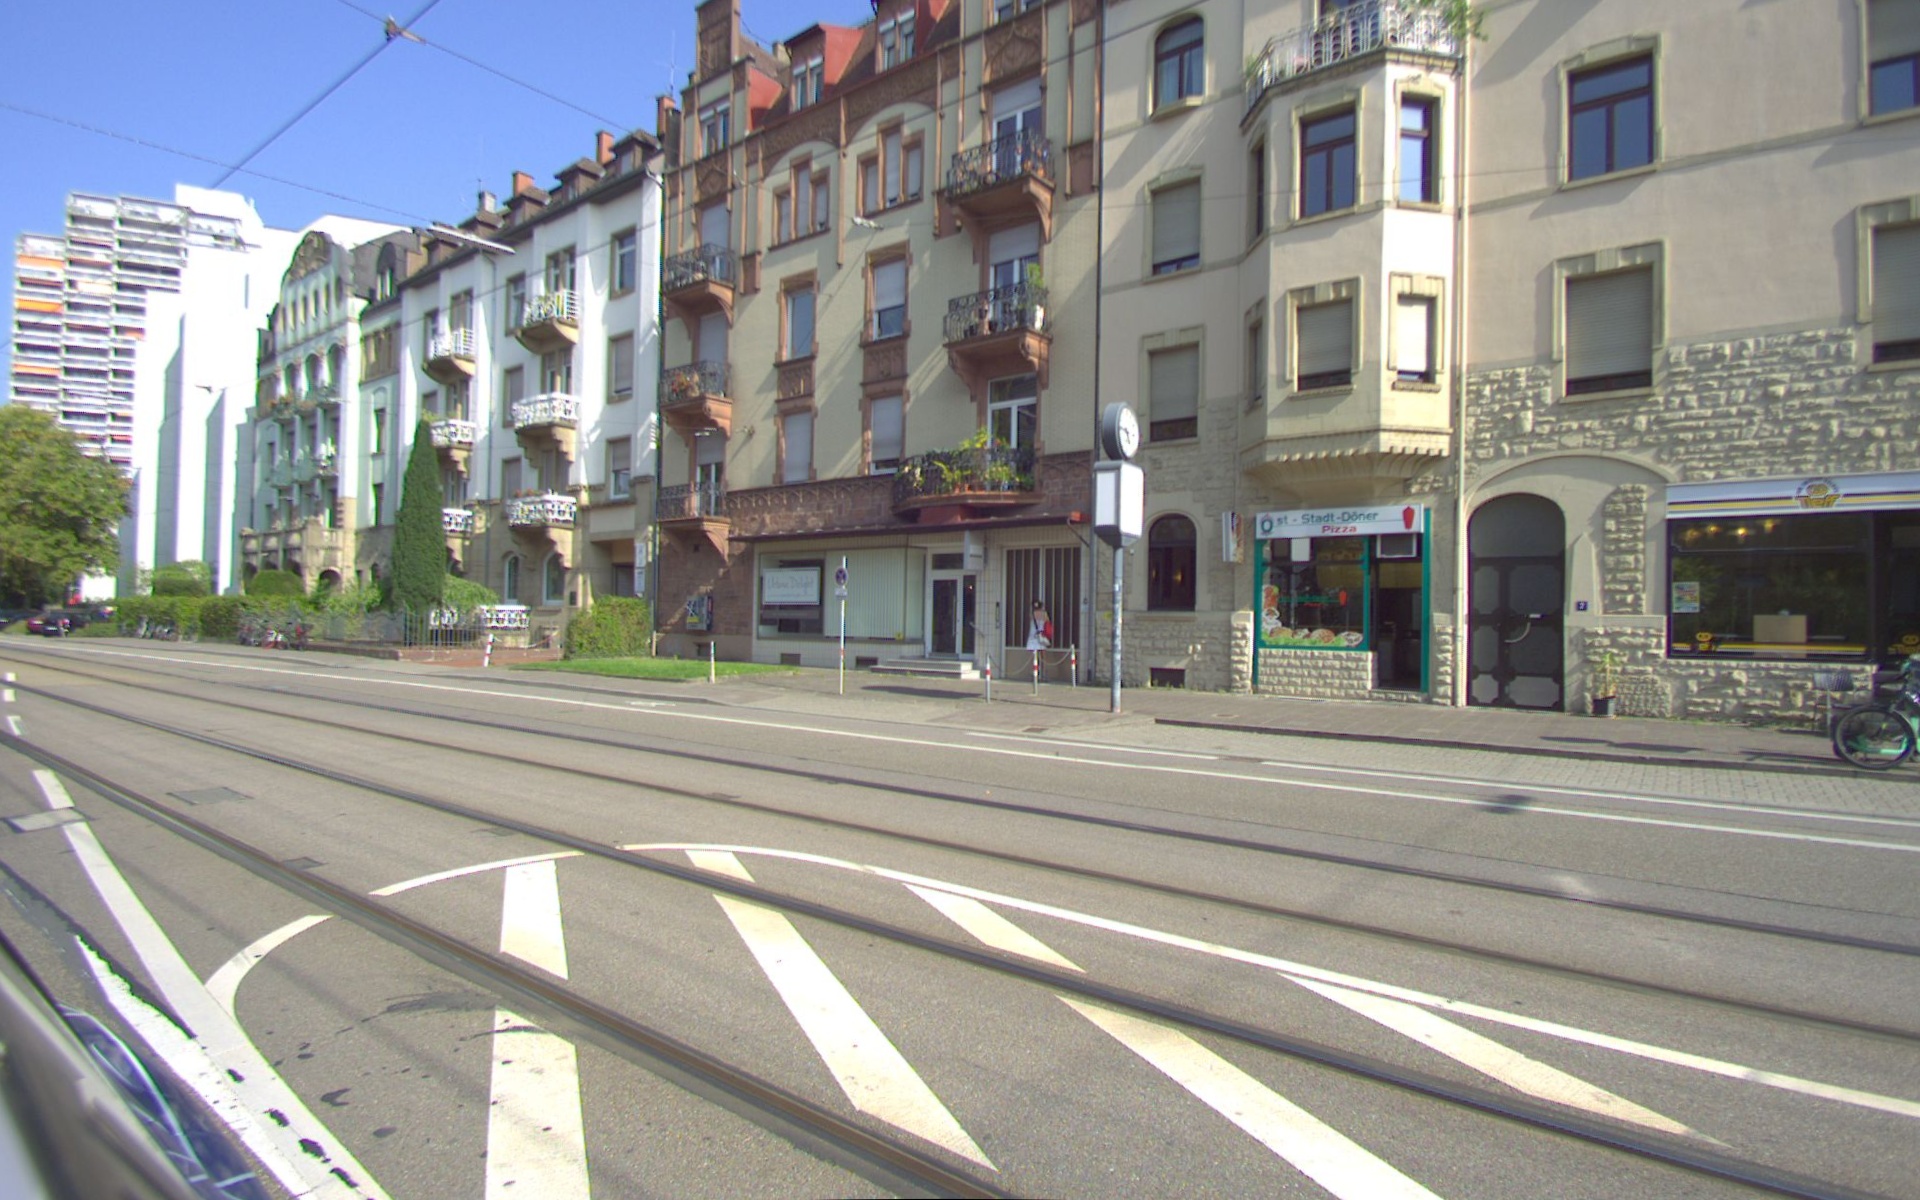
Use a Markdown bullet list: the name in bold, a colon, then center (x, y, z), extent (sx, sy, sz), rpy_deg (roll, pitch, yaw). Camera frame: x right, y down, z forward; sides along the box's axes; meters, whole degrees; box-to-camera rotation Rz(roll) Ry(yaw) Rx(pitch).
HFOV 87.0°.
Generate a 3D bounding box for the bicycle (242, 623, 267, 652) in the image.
- **bicycle**: center (-26.727, 1.413, 38.347), extent (1.353, 1.096, 0.366), rpy_deg (-1, -3, 39)

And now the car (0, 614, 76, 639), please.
- **car**: center (-59.774, 1.728, 65.650), extent (1.744, 1.539, 4.008), rpy_deg (1, -2, -10)

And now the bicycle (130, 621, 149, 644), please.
- **bicycle**: center (-39.648, 1.553, 48.904), extent (1.676, 1.096, 0.420), rpy_deg (-1, -3, 42)

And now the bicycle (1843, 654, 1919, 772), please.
- **bicycle**: center (10.602, 1.209, 10.686), extent (1.850, 1.236, 0.450), rpy_deg (0, -2, 30)

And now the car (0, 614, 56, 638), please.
- **car**: center (-62.327, 1.705, 67.025), extent (1.744, 1.539, 4.008), rpy_deg (1, -2, -10)

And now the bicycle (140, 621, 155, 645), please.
- **bicycle**: center (-38.173, 1.537, 47.533), extent (0.419, 1.096, 1.678), rpy_deg (3, -3, -42)

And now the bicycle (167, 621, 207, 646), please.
- **bicycle**: center (-34.772, 1.523, 45.526), extent (0.423, 1.096, 1.386), rpy_deg (0, -2, 21)

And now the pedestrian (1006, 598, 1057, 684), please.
- **pedestrian**: center (1.592, 0.899, 22.475), extent (0.829, 1.874, 0.766), rpy_deg (0, -2, 37)

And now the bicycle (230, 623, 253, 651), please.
- **bicycle**: center (-28.061, 1.438, 39.510), extent (1.353, 1.096, 0.366), rpy_deg (-1, -3, 39)

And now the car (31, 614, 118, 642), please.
- **car**: center (-51.728, 1.645, 59.223), extent (1.745, 1.539, 4.004), rpy_deg (1, -2, -5)

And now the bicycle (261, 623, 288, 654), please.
- **bicycle**: center (-24.704, 1.392, 36.464), extent (1.353, 1.096, 0.366), rpy_deg (-1, -3, 39)

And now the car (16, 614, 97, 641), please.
- **car**: center (-54.136, 1.658, 60.761), extent (1.744, 1.539, 4.008), rpy_deg (1, -2, -10)

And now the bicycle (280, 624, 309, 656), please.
- **bicycle**: center (-23.281, 1.388, 35.404), extent (1.486, 1.096, 0.366), rpy_deg (-1, -3, 39)

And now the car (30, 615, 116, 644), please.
- **car**: center (-49.239, 1.632, 56.280), extent (1.744, 1.539, 4.008), rpy_deg (1, -2, -10)

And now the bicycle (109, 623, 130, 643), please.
- **bicycle**: center (-42.293, 1.670, 50.925), extent (1.768, 0.985, 0.420), rpy_deg (-1, -2, 38)

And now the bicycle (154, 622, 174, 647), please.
- **bicycle**: center (-35.931, 1.541, 45.687), extent (1.677, 1.096, 0.420), rpy_deg (-1, -3, 44)

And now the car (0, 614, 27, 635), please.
- **car**: center (-69.302, 1.730, 72.461), extent (1.744, 1.539, 4.008), rpy_deg (1, -2, -10)

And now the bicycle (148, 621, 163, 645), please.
- **bicycle**: center (-37.455, 1.547, 47.134), extent (0.419, 1.096, 1.678), rpy_deg (3, -3, -42)

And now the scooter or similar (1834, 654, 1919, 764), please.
- **scooter or similar**: center (10.550, 1.224, 11.471), extent (1.018, 1.206, 0.367), rpy_deg (1, -2, -6)
